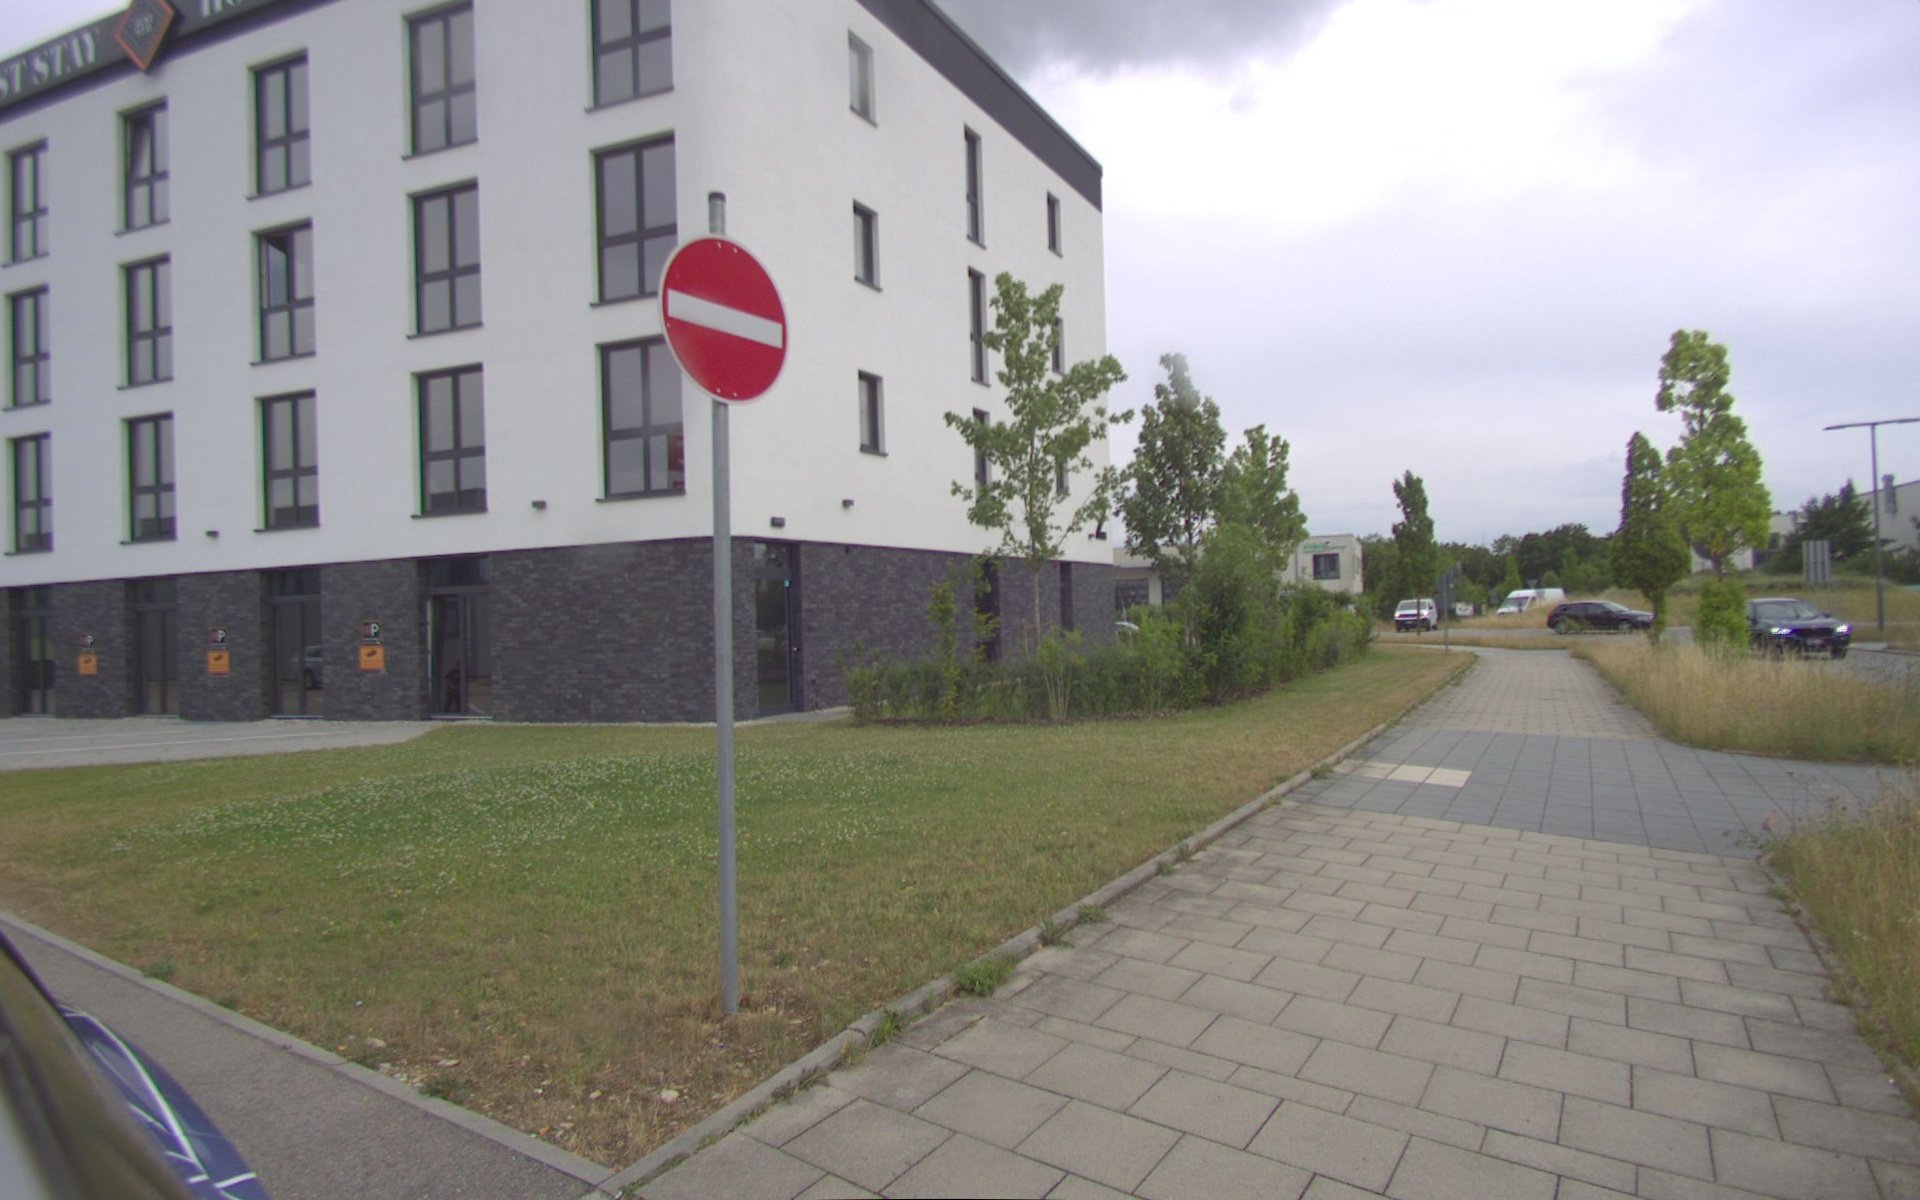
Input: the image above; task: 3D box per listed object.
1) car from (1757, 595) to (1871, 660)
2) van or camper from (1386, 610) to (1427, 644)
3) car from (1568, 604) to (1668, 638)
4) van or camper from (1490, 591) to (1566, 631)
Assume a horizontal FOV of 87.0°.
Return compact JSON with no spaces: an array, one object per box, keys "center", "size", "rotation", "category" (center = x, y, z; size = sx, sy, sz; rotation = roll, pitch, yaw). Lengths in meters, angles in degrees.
[{"center":[23.687,0.729,28.221],"size":[1.889,1.652,3.955],"rotation":[-3,-1,33],"category":"car"},{"center":[26.818,1.580,60.710],"size":[1.974,1.905,4.797],"rotation":[-3,-2,27],"category":"van or camper"},{"center":[28.114,0.920,43.315],"size":[1.537,1.364,3.296],"rotation":[-1,-2,-44],"category":"car"},{"center":[39.753,0.753,70.770],"size":[5.372,2.601,2.006],"rotation":[-2,0,-28],"category":"van or camper"}]
